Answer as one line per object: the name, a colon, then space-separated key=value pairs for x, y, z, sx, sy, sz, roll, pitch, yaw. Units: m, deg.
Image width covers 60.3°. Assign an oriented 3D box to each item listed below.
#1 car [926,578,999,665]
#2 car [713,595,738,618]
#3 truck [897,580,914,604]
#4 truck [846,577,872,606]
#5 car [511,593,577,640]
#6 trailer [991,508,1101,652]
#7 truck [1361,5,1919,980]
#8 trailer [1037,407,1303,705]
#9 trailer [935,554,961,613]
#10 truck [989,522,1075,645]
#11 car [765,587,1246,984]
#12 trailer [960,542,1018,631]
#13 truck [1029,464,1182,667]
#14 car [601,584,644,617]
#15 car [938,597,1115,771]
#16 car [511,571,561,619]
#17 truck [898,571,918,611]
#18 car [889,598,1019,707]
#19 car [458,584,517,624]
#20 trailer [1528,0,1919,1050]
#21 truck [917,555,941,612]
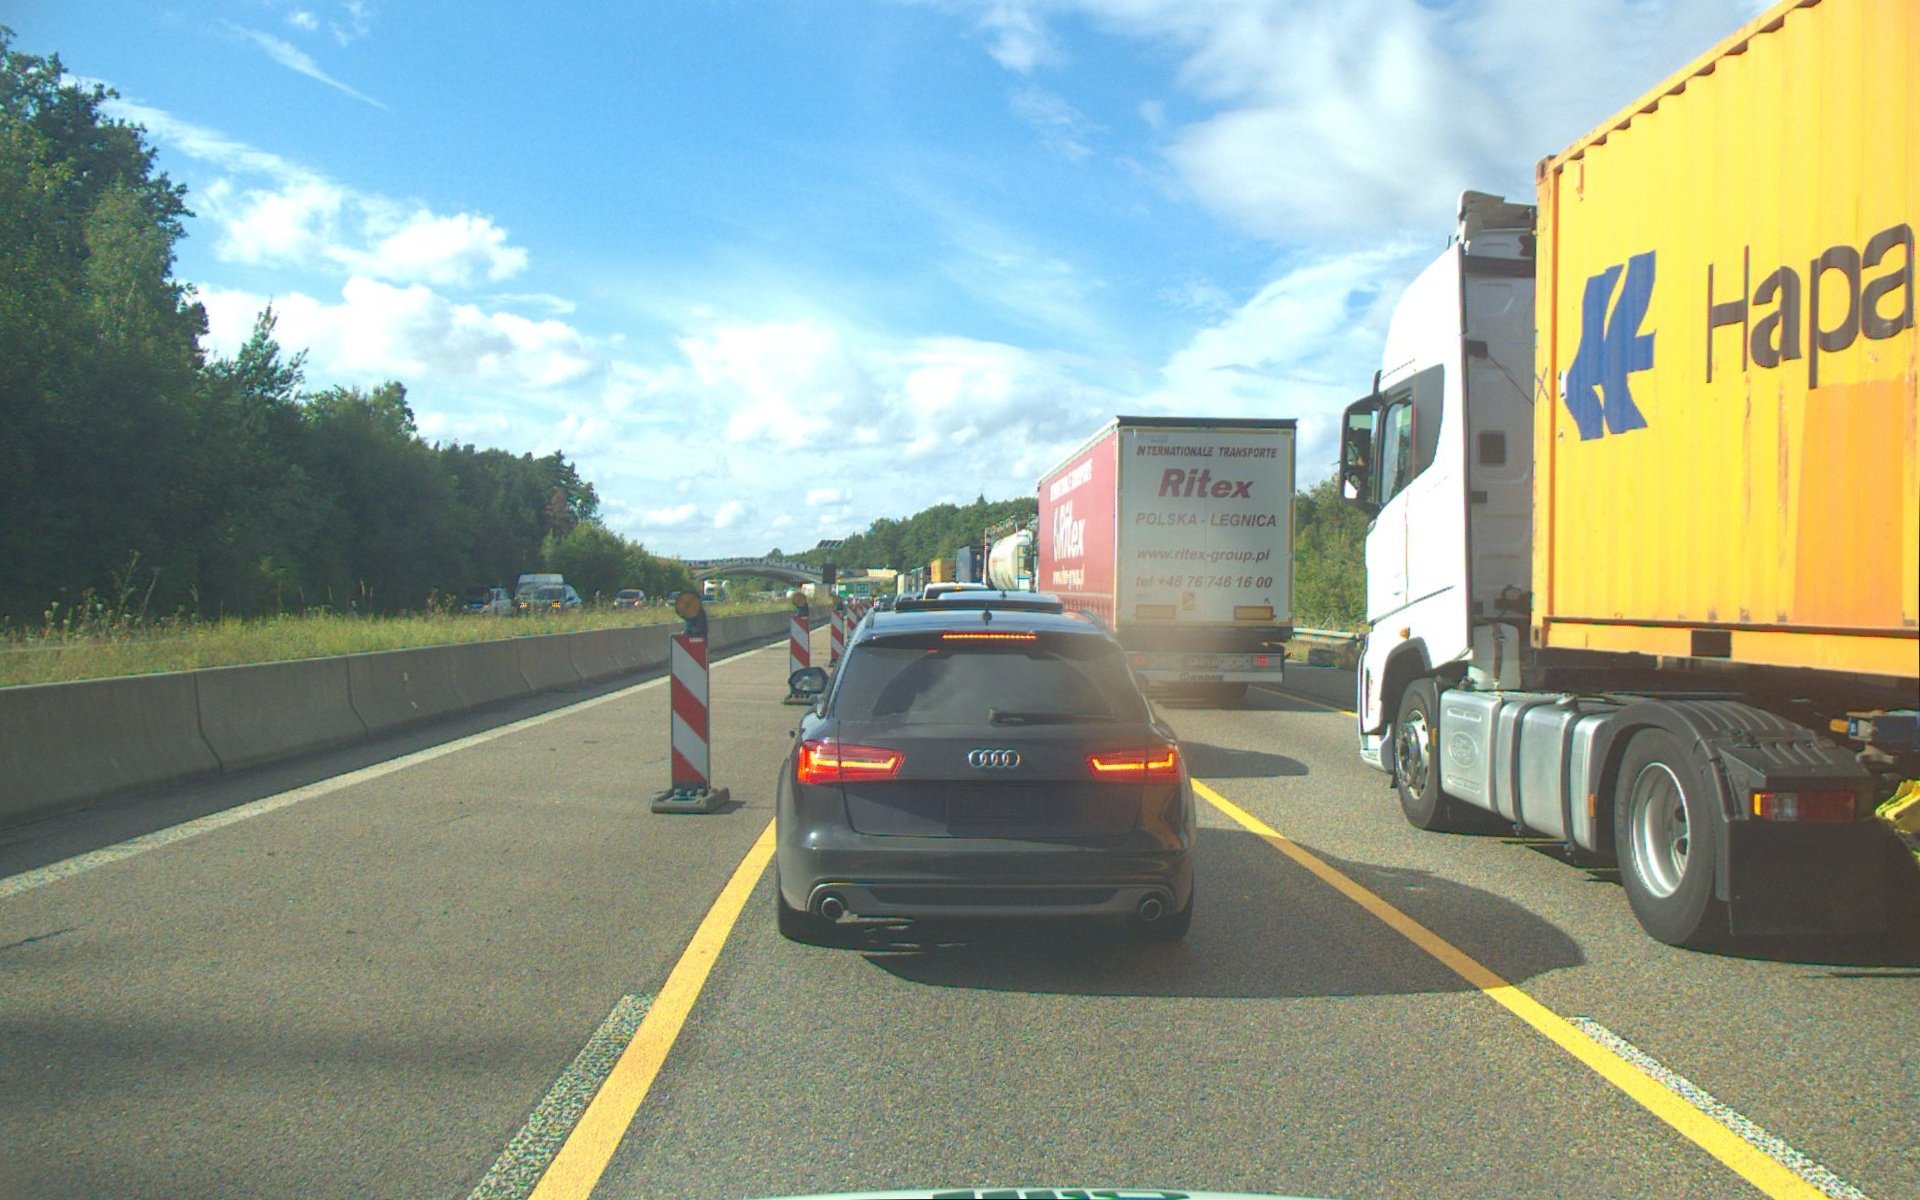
car: x=0.035 y=0.477 z=37.441 sx=1.549 sy=1.869 sz=3.111 roll=1 pitch=0 yaw=-1
car: x=-17.735 y=0.527 z=125.038 sx=1.452 sy=1.682 sz=3.233 roll=1 pitch=0 yaw=-1
truck: x=-8.201 y=-1.200 z=249.302 sx=2.515 sy=3.527 sz=7.395 roll=1 pitch=0 yaw=-2
truck: x=-15.254 y=-1.227 z=250.049 sx=3.242 sy=4.248 sz=9.685 roll=-1 pitch=0 yaw=-8
car: x=-16.194 y=0.628 z=64.561 sx=1.680 sy=1.736 sz=3.522 roll=1 pitch=0 yaw=-1
trailer: x=2.533 y=-0.561 z=52.794 sx=2.590 sy=4.012 sz=12.595 roll=1 pitch=0 yaw=-1
truck: x=4.317 y=-0.409 z=9.471 sx=2.444 sy=3.847 sz=5.787 roll=1 pitch=0 yaw=-2
trailer: x=3.191 y=-0.614 z=29.384 sx=2.645 sy=4.038 sz=13.413 roll=1 pitch=0 yaw=-1
trailer: x=-0.867 y=-1.111 z=116.104 sx=1.584 sy=3.987 sz=6.487 roll=1 pitch=0 yaw=-2
truck: x=2.439 y=-0.542 z=57.906 sx=2.605 sy=4.041 sz=5.777 roll=1 pitch=0 yaw=-1
car: x=0.150 y=0.717 z=8.264 sx=1.811 sy=1.489 sz=3.999 roll=1 pitch=0 yaw=-1
trailer: x=1.474 y=-0.643 z=89.317 sx=2.748 sy=4.490 sz=10.430 roll=1 pitch=0 yaw=-1
truck: x=3.040 y=-0.687 z=36.025 sx=2.614 sy=4.029 sz=5.709 roll=1 pitch=0 yaw=-2
car: x=-21.550 y=0.048 z=105.671 sx=1.953 sy=2.049 sz=3.999 roll=1 pitch=0 yaw=-1
car: x=0.551 y=0.729 z=15.823 sx=1.493 sy=1.464 sz=3.284 roll=1 pitch=0 yaw=-1
car: x=-24.830 y=-0.257 z=97.047 sx=2.208 sy=2.689 sz=5.010 roll=1 pitch=0 yaw=-8
truck: x=-5.770 y=-1.002 z=183.251 sx=2.094 sy=4.332 sz=7.069 roll=1 pitch=0 yaw=-1
car: x=-0.108 y=0.716 z=24.013 sx=1.716 sy=1.421 sz=3.607 roll=1 pitch=0 yaw=-1
car: x=-24.882 y=0.214 z=87.182 sx=1.953 sy=2.049 sz=3.999 roll=1 pitch=0 yaw=-1
trailer: x=4.495 y=-0.403 z=2.992 sx=2.421 sy=3.841 sz=12.131 roll=1 pitch=0 yaw=-2
truck: x=-2.871 y=-1.462 z=149.670 sx=1.953 sy=5.000 sz=9.558 roll=1 pitch=0 yaw=-2
